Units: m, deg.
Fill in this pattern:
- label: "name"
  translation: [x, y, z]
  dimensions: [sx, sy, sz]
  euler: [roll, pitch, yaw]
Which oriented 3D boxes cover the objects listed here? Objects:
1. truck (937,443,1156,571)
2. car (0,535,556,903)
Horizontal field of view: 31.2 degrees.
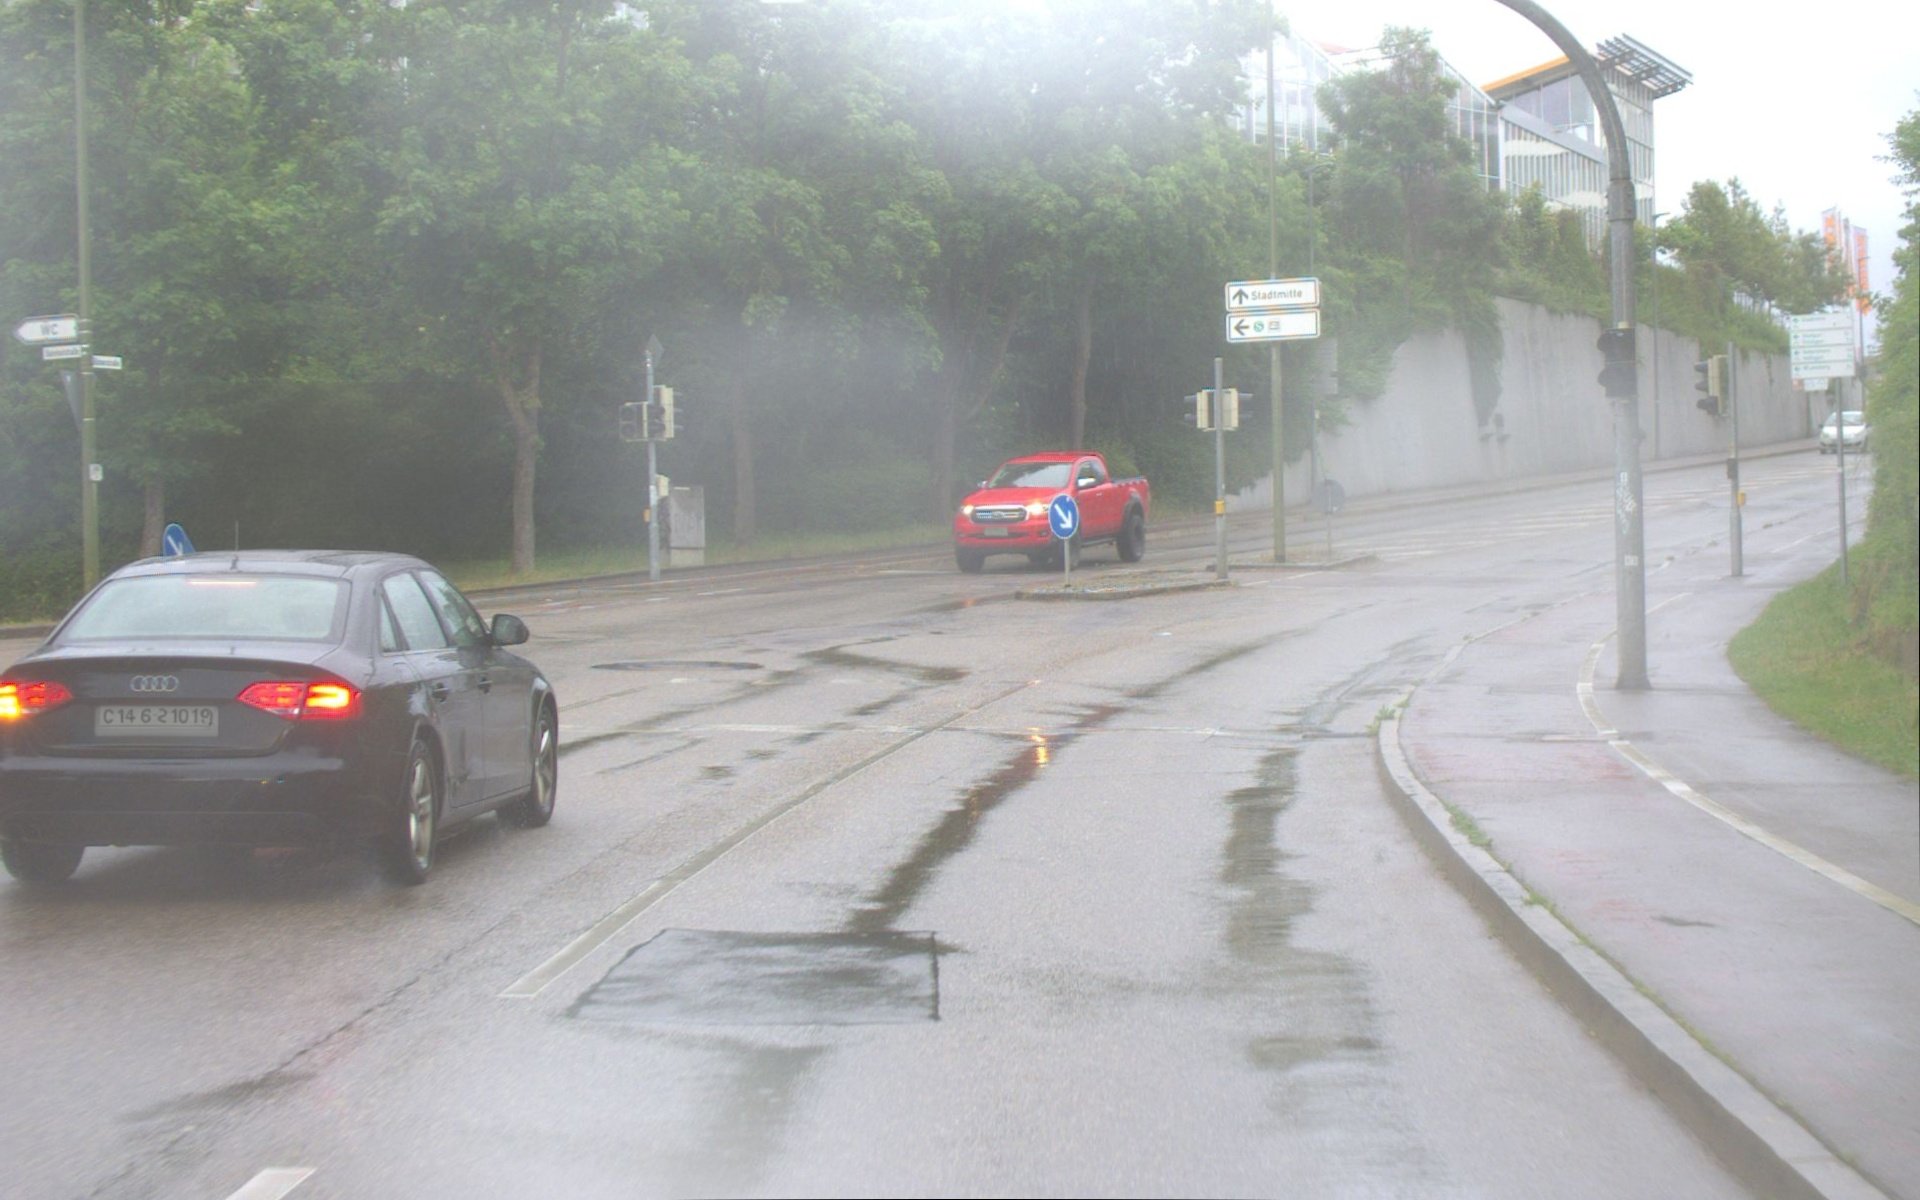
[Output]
- label: "truck"
  translation: [1.529, -1.619, 57.815]
  dimensions: [1.996, 2.006, 5.333]
  euler: [1, 3, 21]
- label: "car"
  translation: [-3.083, 0.423, 15.327]
  dimensions: [1.755, 1.390, 4.000]
  euler: [0, 1, 5]
